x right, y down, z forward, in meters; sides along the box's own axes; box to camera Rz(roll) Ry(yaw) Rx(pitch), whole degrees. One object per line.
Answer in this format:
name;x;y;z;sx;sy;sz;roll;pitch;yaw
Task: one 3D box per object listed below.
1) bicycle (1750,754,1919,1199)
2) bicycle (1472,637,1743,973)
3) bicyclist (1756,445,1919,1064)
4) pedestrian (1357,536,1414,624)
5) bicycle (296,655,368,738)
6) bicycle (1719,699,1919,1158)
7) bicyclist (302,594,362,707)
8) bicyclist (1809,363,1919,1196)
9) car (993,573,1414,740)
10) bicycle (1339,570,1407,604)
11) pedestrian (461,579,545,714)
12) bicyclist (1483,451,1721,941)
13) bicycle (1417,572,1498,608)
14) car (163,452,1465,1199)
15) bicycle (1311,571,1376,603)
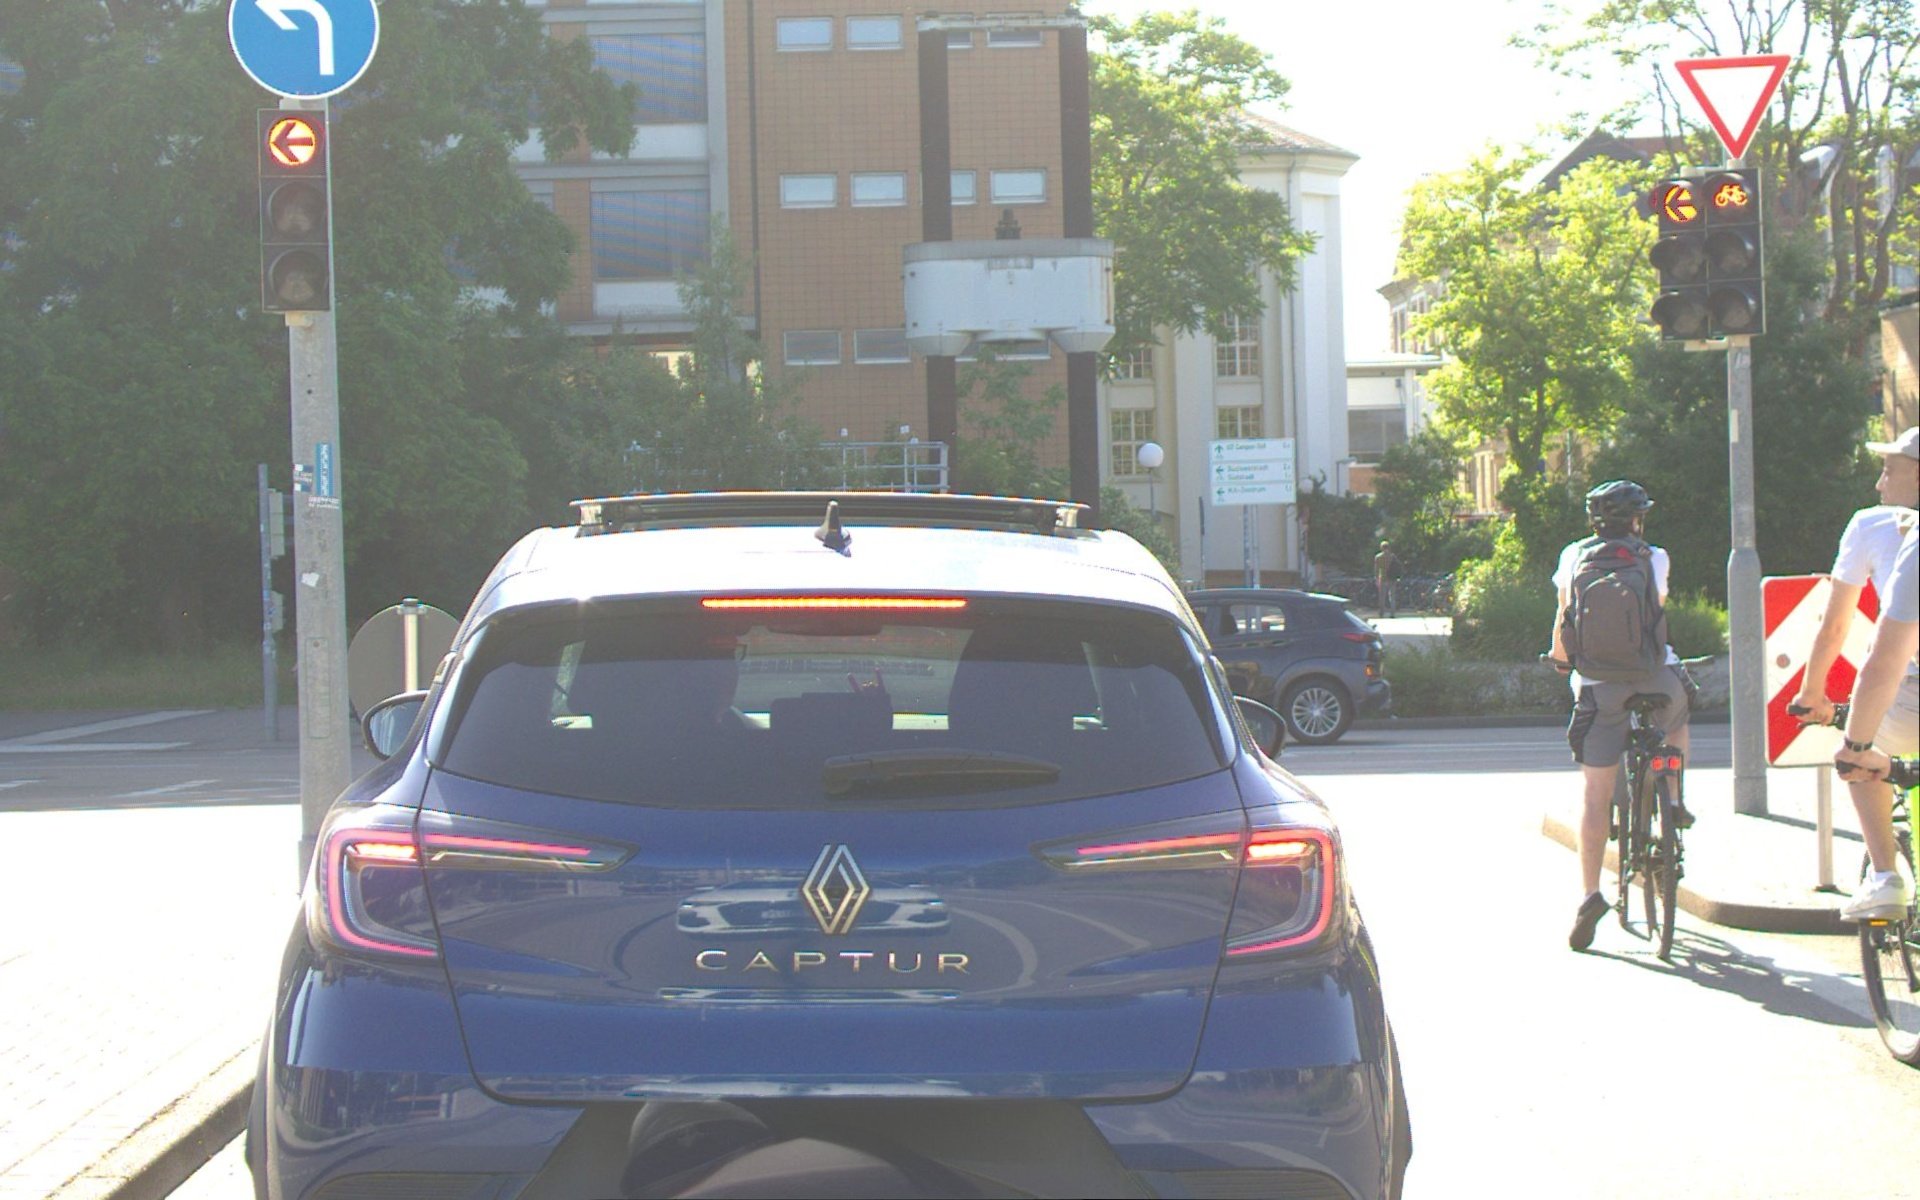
bicycle;2.288;0.901;7.203;0.747;1.047;1.903;-1;1;-2
bicycle;2.415;0.730;13.012;0.615;1.134;1.826;0;1;-2
bicyclist;2.644;0.392;9.312;0.674;1.577;1.081;1;1;-1
pedestrian;9.948;-0.467;80.429;1.156;2.007;1.164;-1;1;0
bicycle;-8.013;1.241;43.816;0.698;1.004;1.868;-2;-2;-16
bicycle;2.637;0.837;9.350;0.671;1.047;1.844;1;1;-2
bicyclist;-8.012;0.647;43.836;0.647;1.407;0.639;-1;-2;-16
bicyclist;2.274;0.353;7.169;0.740;1.668;0.866;-1;1;-2
car;2.481;0.557;34.611;3.989;1.565;1.835;-1;1;12
bicycle;11.390;-0.351;94.849;1.771;0.895;0.765;-1;1;0
pedestrian;-6.381;0.649;48.057;0.932;1.849;0.807;-1;1;9
bicyclist;2.415;0.348;13.011;0.676;1.779;0.940;1;0;-2
bicycle;12.022;-0.238;83.047;1.770;0.820;0.766;-1;1;-10
car;-0.253;0.591;6.686;1.794;1.649;3.853;0;1;-2
bicycle;11.051;-0.382;99.213;1.771;0.890;0.765;-1;1;0
